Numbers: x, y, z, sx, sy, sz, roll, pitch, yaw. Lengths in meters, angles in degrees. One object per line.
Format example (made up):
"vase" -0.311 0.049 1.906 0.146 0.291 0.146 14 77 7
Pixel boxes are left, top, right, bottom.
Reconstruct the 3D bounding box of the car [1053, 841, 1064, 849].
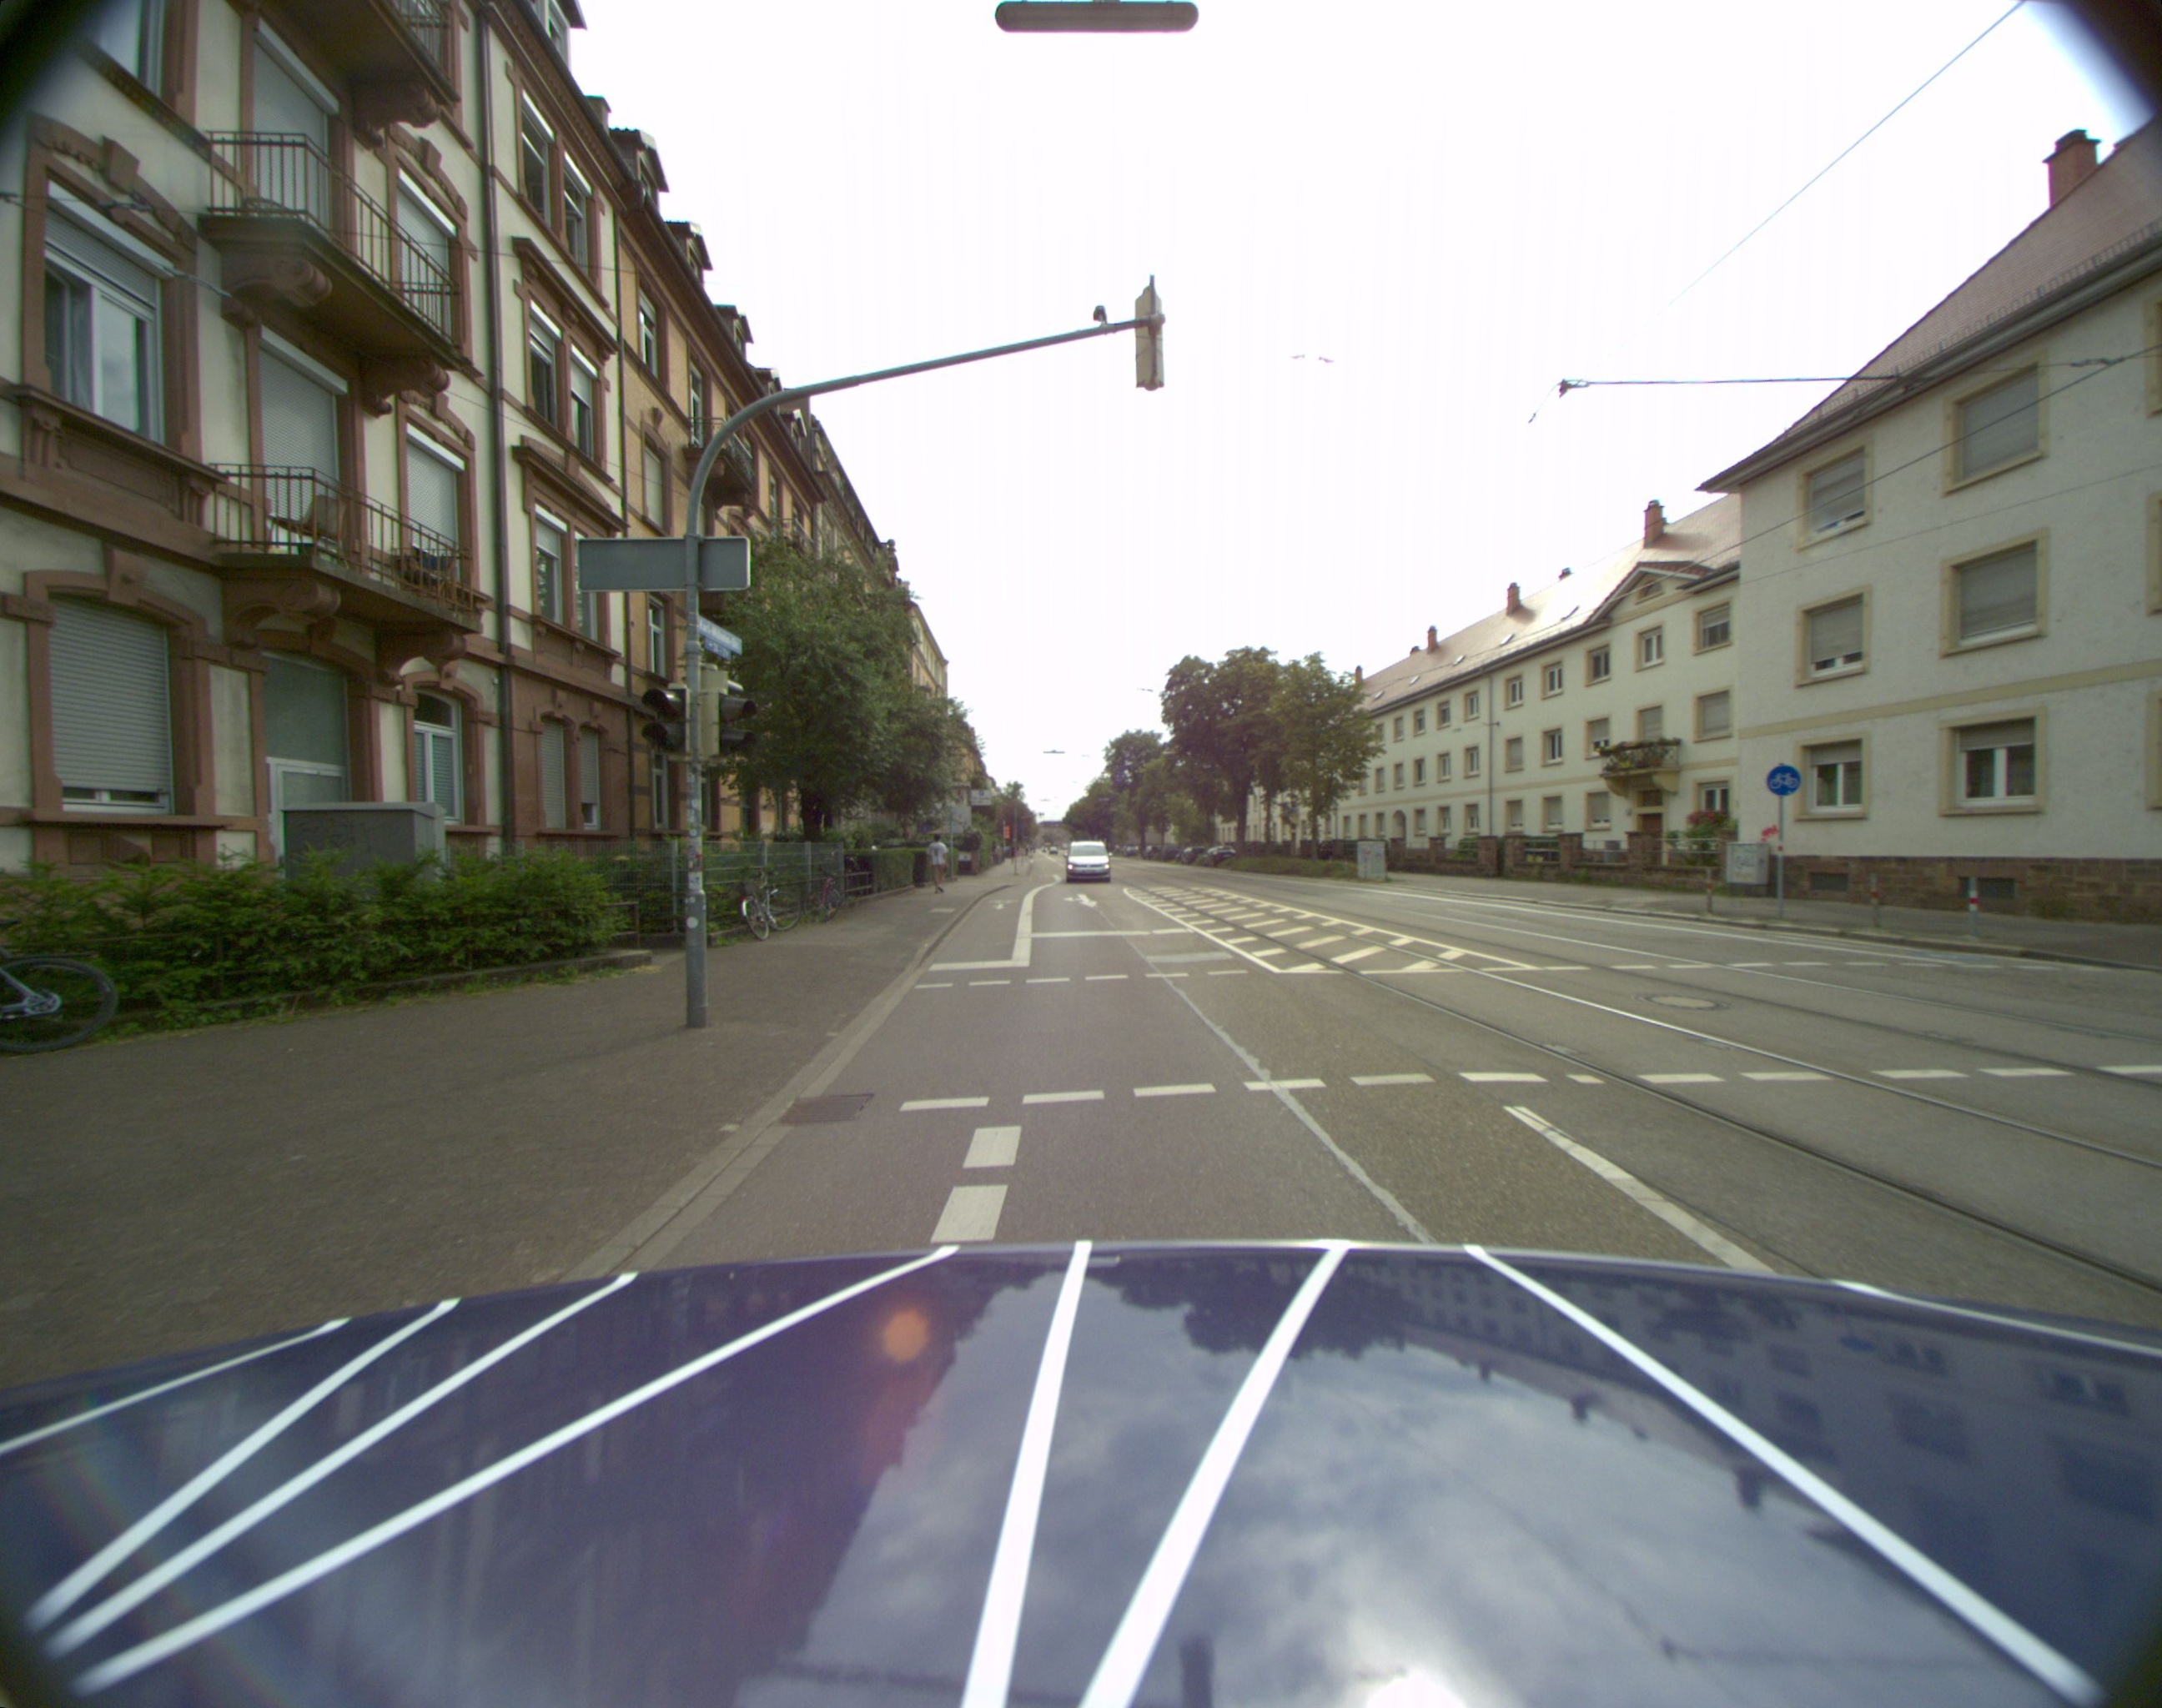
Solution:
"car" -4.527 -1.825 150.803 1.947 1.675 3.999 0 1 1

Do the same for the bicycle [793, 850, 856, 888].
"bicycle" -6.951 0.388 20.639 1.549 1.003 0.444 0 2 -5

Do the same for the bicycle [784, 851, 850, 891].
"bicycle" -6.856 0.443 19.770 1.549 1.003 0.444 0 2 -5

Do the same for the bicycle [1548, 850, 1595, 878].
"bicycle" 16.790 0.320 26.044 0.479 0.910 1.671 0 1 -3

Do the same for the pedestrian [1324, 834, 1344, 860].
"pedestrian" 14.384 -0.409 43.204 0.835 1.456 0.732 -1 2 -8

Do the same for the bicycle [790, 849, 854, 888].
"bicycle" -6.877 0.384 20.202 1.549 1.003 0.444 0 2 -5

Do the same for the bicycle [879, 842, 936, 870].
"bicycle" -8.462 0.089 37.093 2.631 1.304 0.770 -1 2 -6

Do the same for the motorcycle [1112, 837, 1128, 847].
"motorcycle" 6.046 -1.872 117.761 2.311 1.382 0.838 -5 2 29

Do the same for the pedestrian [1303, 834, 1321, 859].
"pedestrian" 14.056 -0.476 46.288 0.835 1.504 0.732 -1 2 -8

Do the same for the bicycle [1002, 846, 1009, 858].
"bicycle" -6.959 -0.184 69.927 0.580 0.977 1.671 3 1 -4

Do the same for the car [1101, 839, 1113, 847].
"car" 4.732 -1.982 139.464 1.732 1.462 4.297 -1 1 -5

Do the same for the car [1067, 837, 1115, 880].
"car" 0.381 0.128 32.443 1.876 1.670 5.130 0 1 0

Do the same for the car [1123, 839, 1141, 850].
"car" 6.783 -1.281 102.203 1.702 1.462 4.296 -1 2 -5

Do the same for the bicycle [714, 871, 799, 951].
"bicycle" -5.103 0.863 12.058 0.673 1.100 1.671 0 1 -3

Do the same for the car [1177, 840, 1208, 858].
"car" 9.095 -0.435 62.328 1.701 1.415 4.297 -2 1 -3

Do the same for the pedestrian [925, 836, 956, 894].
"pedestrian" -4.303 0.329 23.307 0.732 1.744 0.949 0 2 1

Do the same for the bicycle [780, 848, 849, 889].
"bicycle" -6.714 0.359 19.187 1.549 1.003 0.444 0 2 -5

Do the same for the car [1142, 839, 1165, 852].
"car" 7.897 -0.946 82.953 1.702 1.462 4.297 -1 1 -5

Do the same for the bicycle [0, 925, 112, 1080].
"bicycle" -7.614 1.034 4.928 0.509 0.964 1.553 1 2 30

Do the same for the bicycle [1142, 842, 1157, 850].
"bicycle" 7.916 -0.900 87.621 1.672 0.965 0.672 -1 2 -12

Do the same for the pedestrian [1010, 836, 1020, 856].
"pedestrian" -5.446 -0.689 62.582 0.732 1.614 0.835 -1 2 -4

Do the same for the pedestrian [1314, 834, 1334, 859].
"pedestrian" 14.209 -0.432 44.418 0.835 1.456 0.732 -1 2 -8

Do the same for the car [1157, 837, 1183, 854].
"car" 8.559 -0.820 73.776 1.790 1.602 4.297 0 1 -3

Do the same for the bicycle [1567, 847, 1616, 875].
"bicycle" 17.742 0.231 26.447 0.479 0.910 1.671 0 1 -3

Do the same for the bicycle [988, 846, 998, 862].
"bicycle" -6.128 0.006 53.097 0.580 1.106 1.671 -1 1 -4

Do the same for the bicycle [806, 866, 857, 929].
"bicycle" -4.833 0.816 14.796 0.510 1.082 1.549 3 1 -3

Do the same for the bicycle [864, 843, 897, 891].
"bicycle" -5.544 0.341 21.080 0.517 1.274 1.549 0 1 -1

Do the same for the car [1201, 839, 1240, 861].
"car" 9.934 -0.303 54.243 1.701 1.415 4.297 -4 1 -3

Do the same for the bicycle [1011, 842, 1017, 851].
"bicycle" -9.062 -1.037 102.685 0.631 1.106 1.873 0 1 -2

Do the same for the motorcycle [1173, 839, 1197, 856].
"motorcycle" 9.068 -0.547 66.151 1.872 1.253 0.591 -6 2 -7

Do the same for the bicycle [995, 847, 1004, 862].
"bicycle" -6.299 0.044 58.455 0.580 1.106 1.671 3 1 -4
